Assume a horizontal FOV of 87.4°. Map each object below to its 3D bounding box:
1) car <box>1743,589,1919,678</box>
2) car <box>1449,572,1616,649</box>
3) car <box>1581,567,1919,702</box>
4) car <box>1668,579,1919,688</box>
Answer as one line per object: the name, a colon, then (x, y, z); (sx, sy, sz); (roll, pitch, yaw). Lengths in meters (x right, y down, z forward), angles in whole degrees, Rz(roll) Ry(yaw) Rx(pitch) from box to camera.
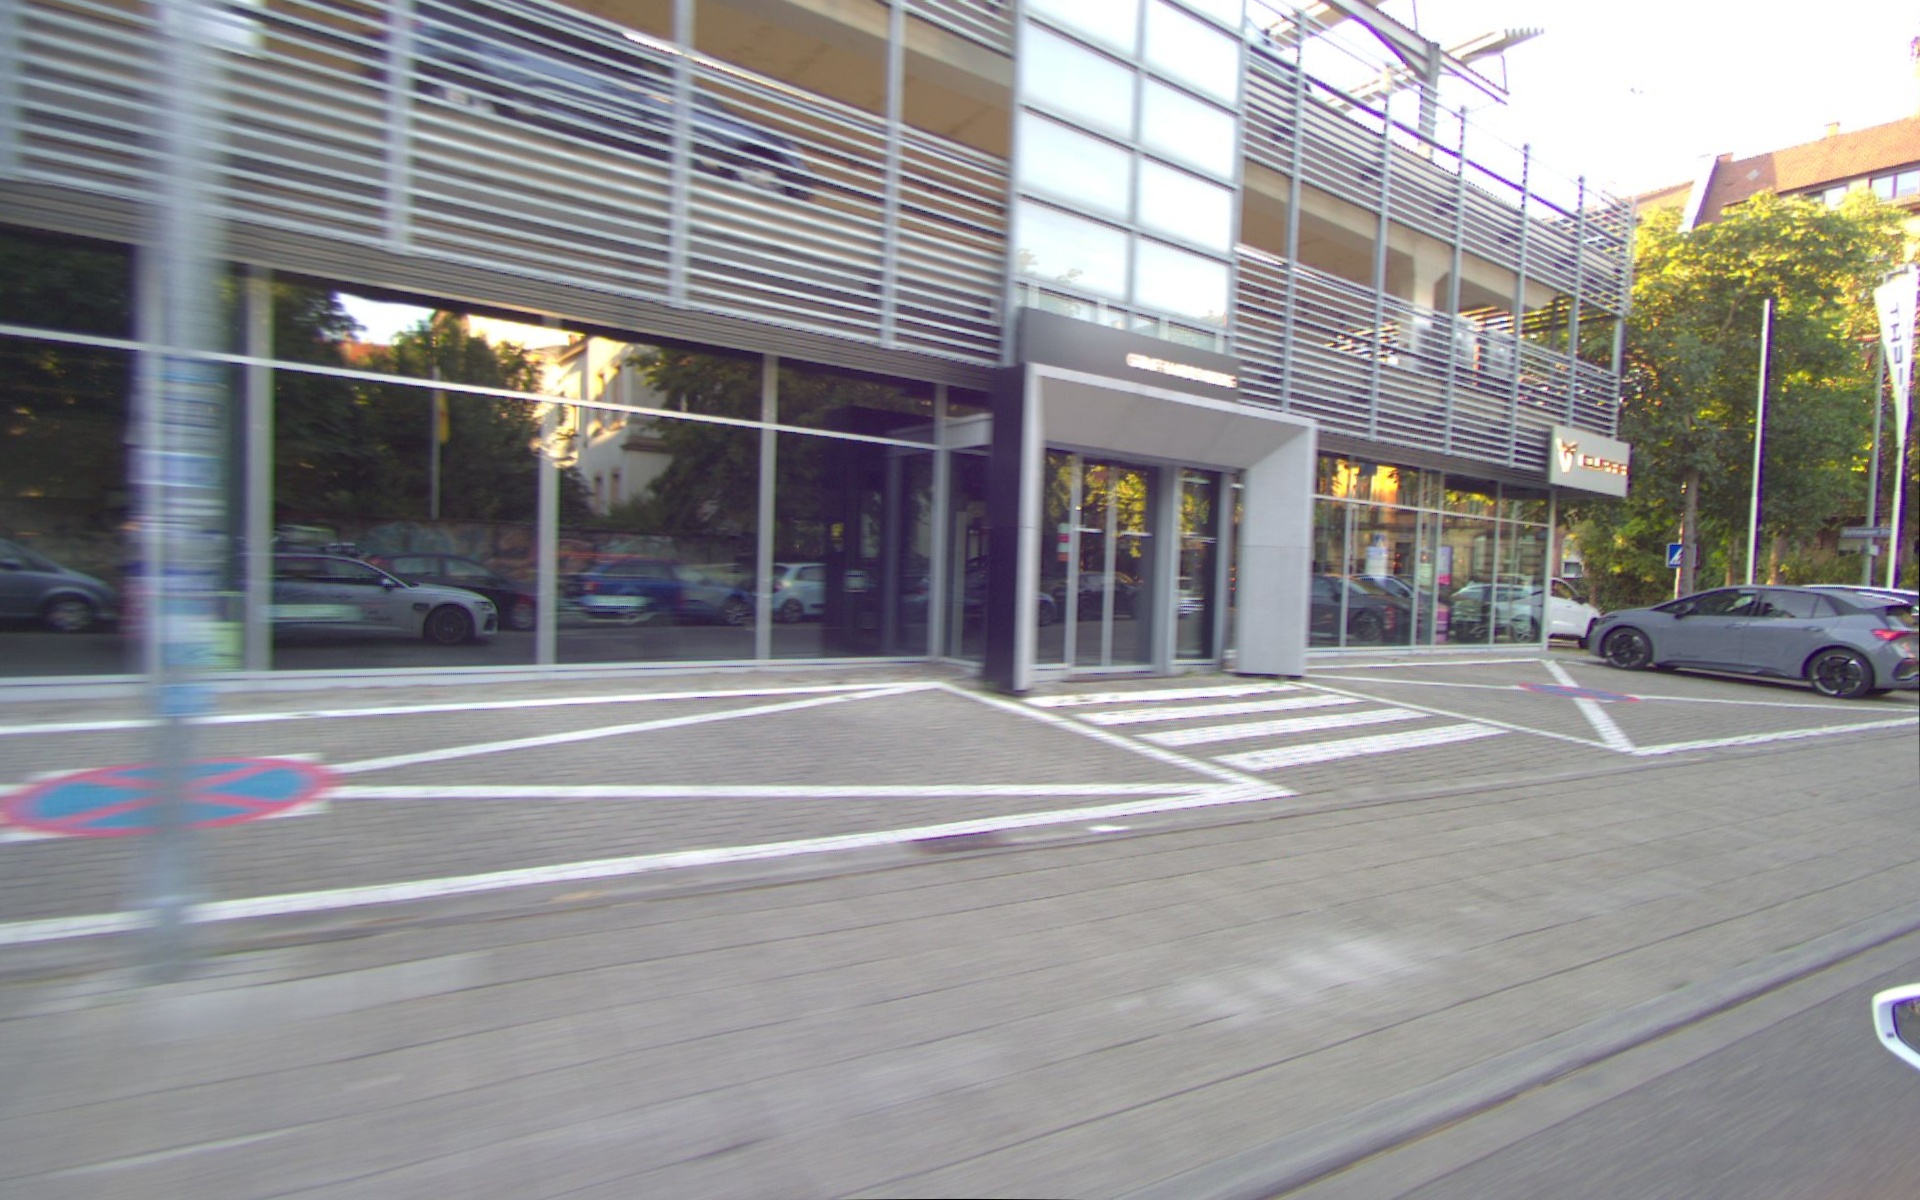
car: (18.498, 0.660, 20.081); (1.900, 1.495, 4.020); (0, 4, -33)
car: (13.173, 0.230, 23.042); (4.182, 1.571, 1.690); (1, 2, -36)
car: (12.506, 0.410, 15.876); (1.891, 1.640, 4.106); (0, 4, -31)
car: (15.030, 0.505, 17.477); (1.745, 1.640, 4.045); (0, 2, -31)
